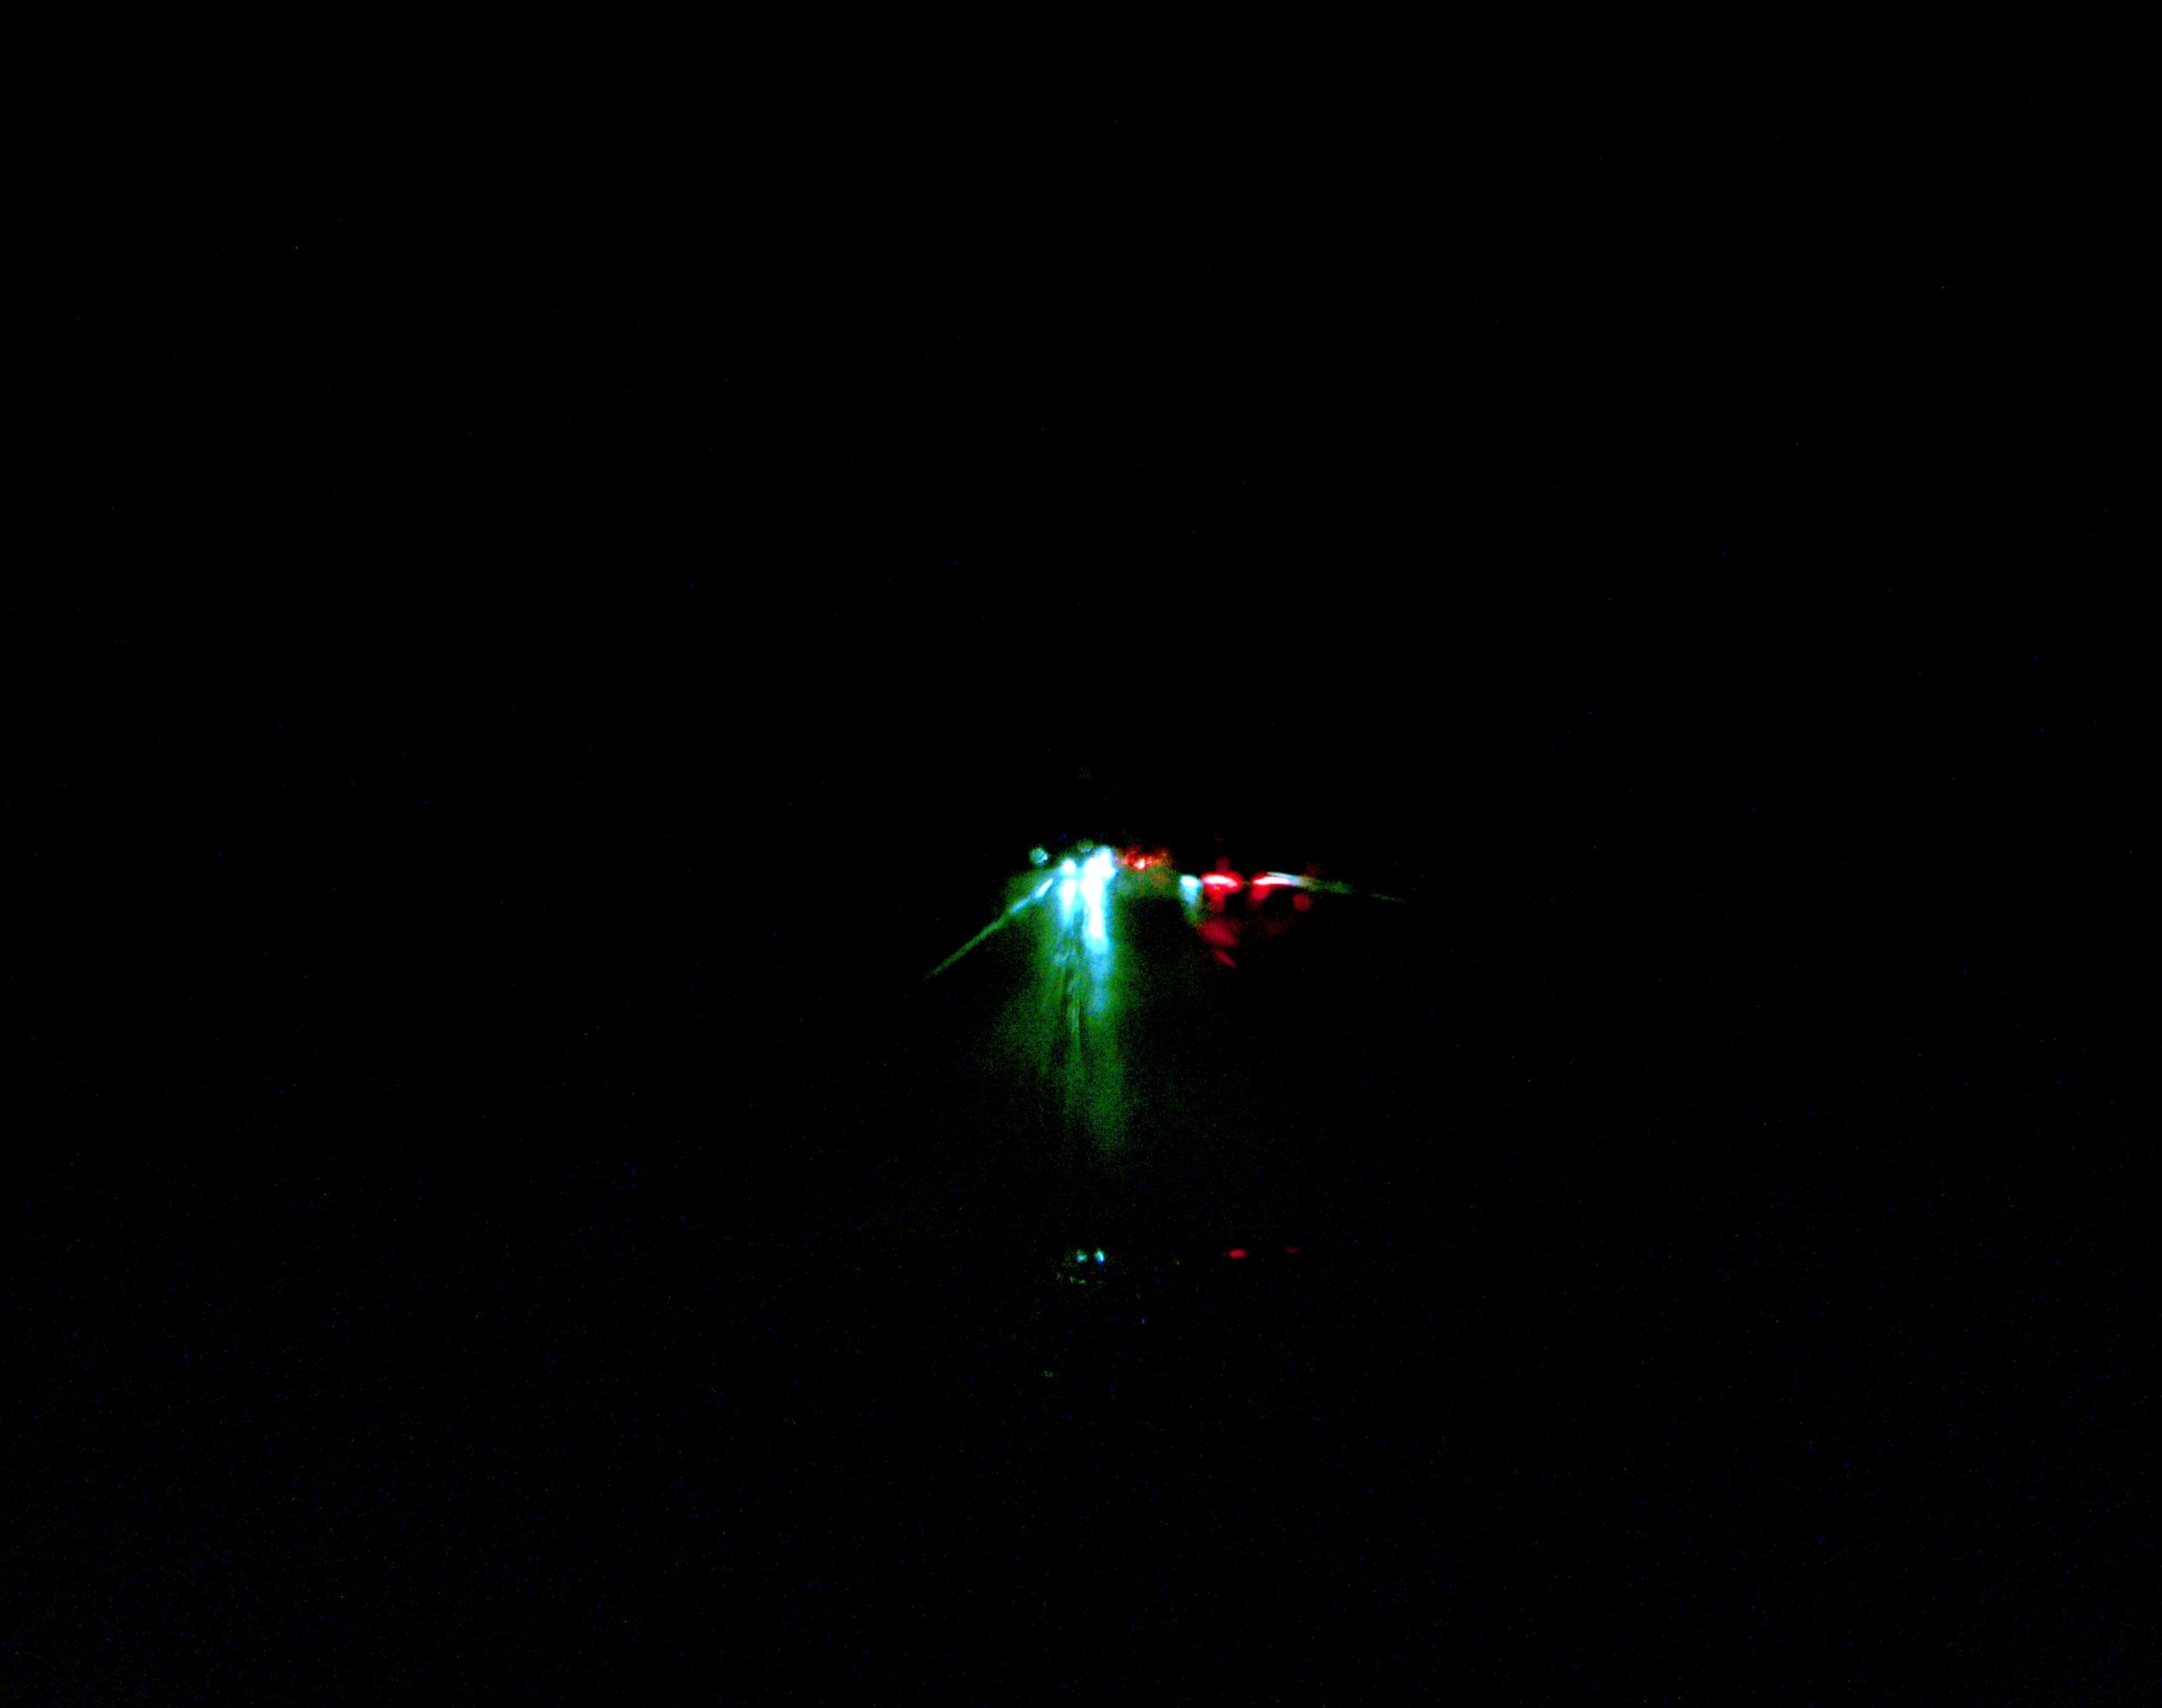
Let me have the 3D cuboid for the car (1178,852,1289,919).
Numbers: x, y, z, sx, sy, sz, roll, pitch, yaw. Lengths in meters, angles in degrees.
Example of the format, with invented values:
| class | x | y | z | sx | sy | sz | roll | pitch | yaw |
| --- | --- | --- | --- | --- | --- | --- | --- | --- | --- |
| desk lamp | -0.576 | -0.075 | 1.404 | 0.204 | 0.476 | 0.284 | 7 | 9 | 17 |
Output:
| class | x | y | z | sx | sy | sz | roll | pitch | yaw |
| --- | --- | --- | --- | --- | --- | --- | --- | --- | --- |
| car | 3.707 | 0.702 | 19.247 | 1.841 | 1.462 | 4.391 | -2 | 0 | -1 |

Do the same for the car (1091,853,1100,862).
| class | x | y | z | sx | sy | sz | roll | pitch | yaw |
| --- | --- | --- | --- | --- | --- | --- | --- | --- | --- |
| car | 2.853 | 0.702 | 150.913 | 1.720 | 1.508 | 3.877 | -3 | 0 | 0 |

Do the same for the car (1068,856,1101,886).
| class | x | y | z | sx | sy | sz | roll | pitch | yaw |
| --- | --- | --- | --- | --- | --- | --- | --- | --- | --- |
| car | 0.280 | 1.141 | 51.515 | 1.998 | 1.805 | 4.000 | -3 | 1 | 3 |

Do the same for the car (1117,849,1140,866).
| class | x | y | z | sx | sy | sz | roll | pitch | yaw |
| --- | --- | --- | --- | --- | --- | --- | --- | --- | --- |
| car | 4.348 | 0.342 | 70.222 | 1.833 | 1.447 | 3.793 | 0 | -1 | 0 |

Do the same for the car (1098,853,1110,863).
| class | x | y | z | sx | sy | sz | roll | pitch | yaw |
| --- | --- | --- | --- | --- | --- | --- | --- | --- | --- |
| car | 3.440 | 0.543 | 113.547 | 1.720 | 1.462 | 3.708 | -1 | 0 | 0 |

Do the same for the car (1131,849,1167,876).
| class | x | y | z | sx | sy | sz | roll | pitch | yaw |
| --- | --- | --- | --- | --- | --- | --- | --- | --- | --- |
| car | 4.210 | 0.541 | 47.489 | 1.936 | 1.577 | 4.001 | 0 | -1 | 1 |
